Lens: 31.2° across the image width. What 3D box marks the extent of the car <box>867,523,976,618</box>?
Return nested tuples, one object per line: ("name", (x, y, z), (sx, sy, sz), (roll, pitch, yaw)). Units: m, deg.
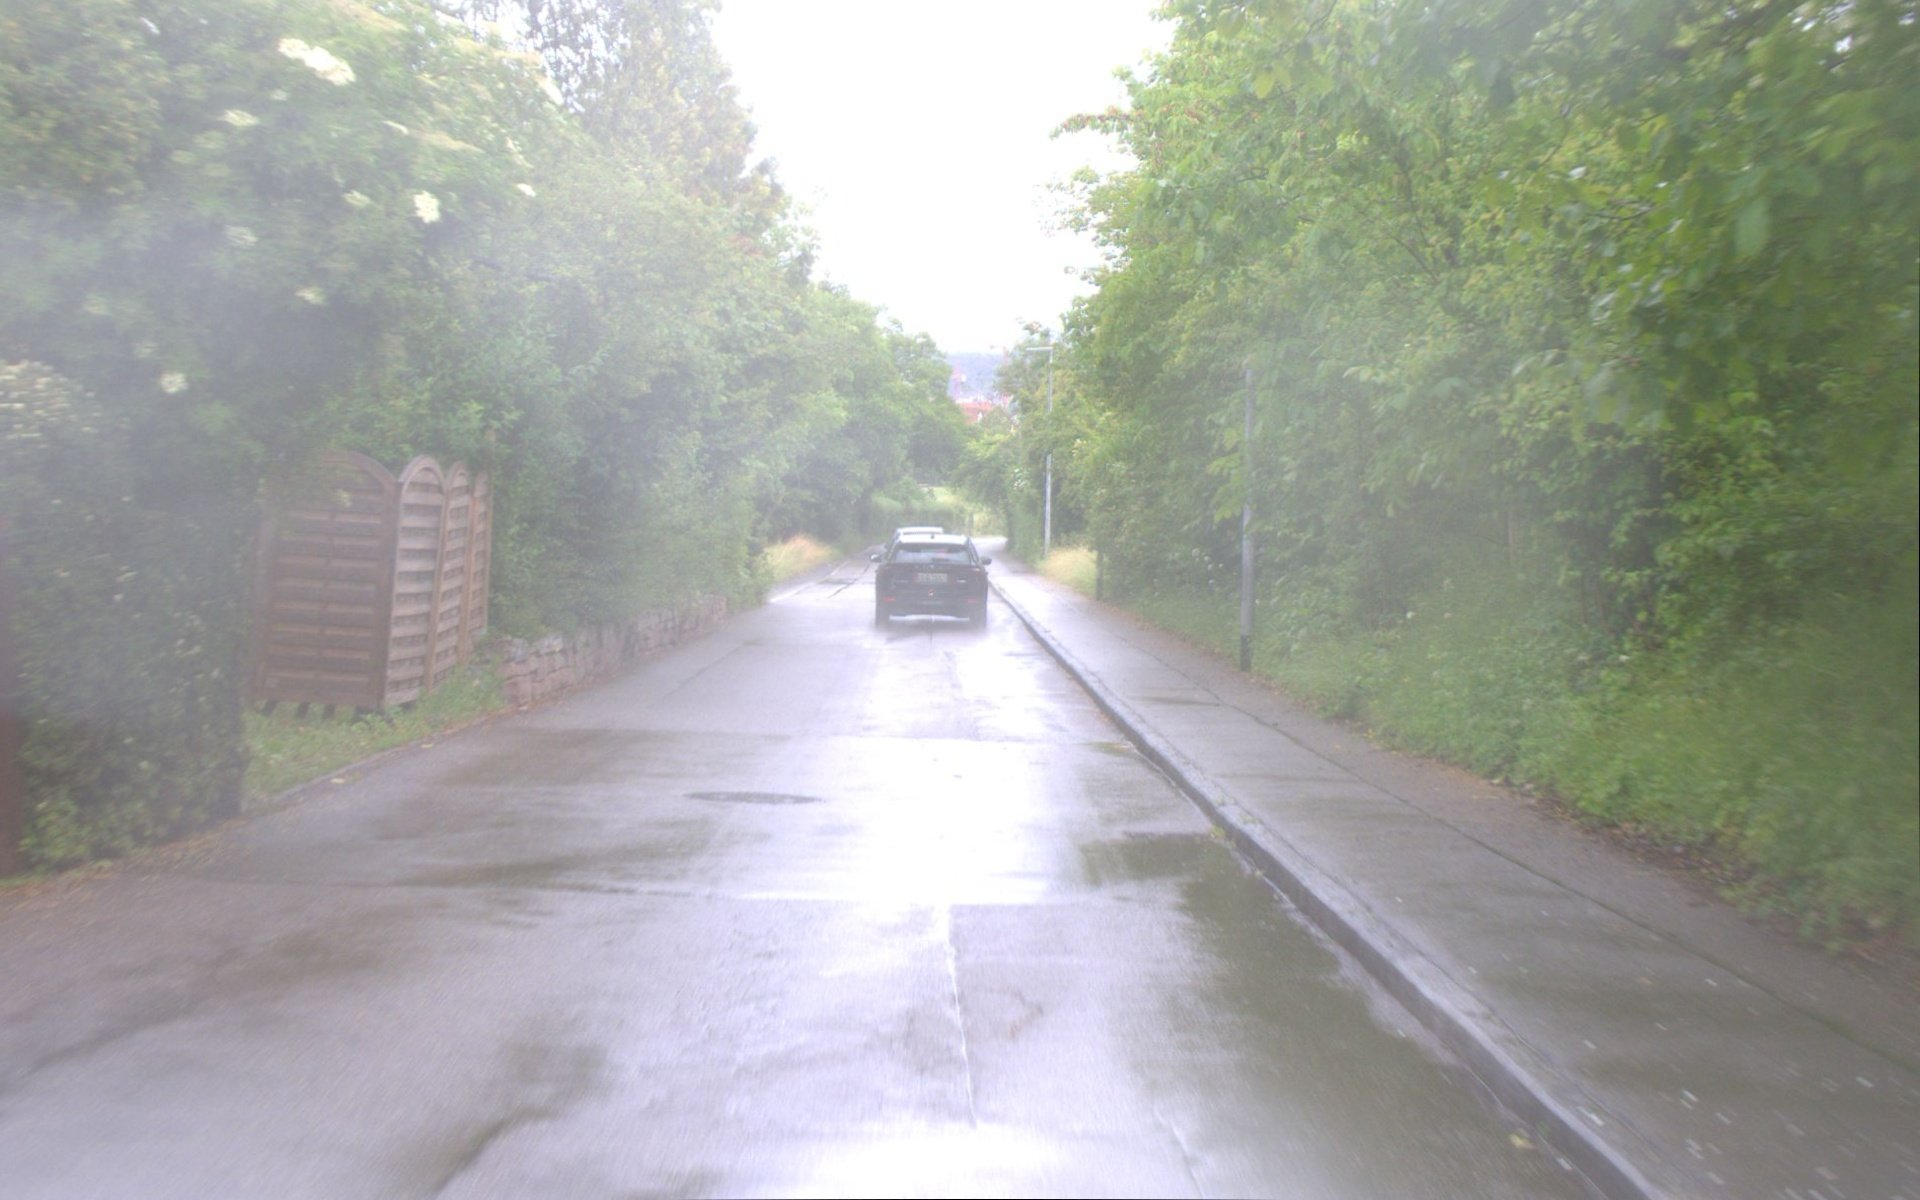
("car", (-0.584, -0.461, 54.626), (1.634, 1.445, 3.544), (1, 0, 1))
